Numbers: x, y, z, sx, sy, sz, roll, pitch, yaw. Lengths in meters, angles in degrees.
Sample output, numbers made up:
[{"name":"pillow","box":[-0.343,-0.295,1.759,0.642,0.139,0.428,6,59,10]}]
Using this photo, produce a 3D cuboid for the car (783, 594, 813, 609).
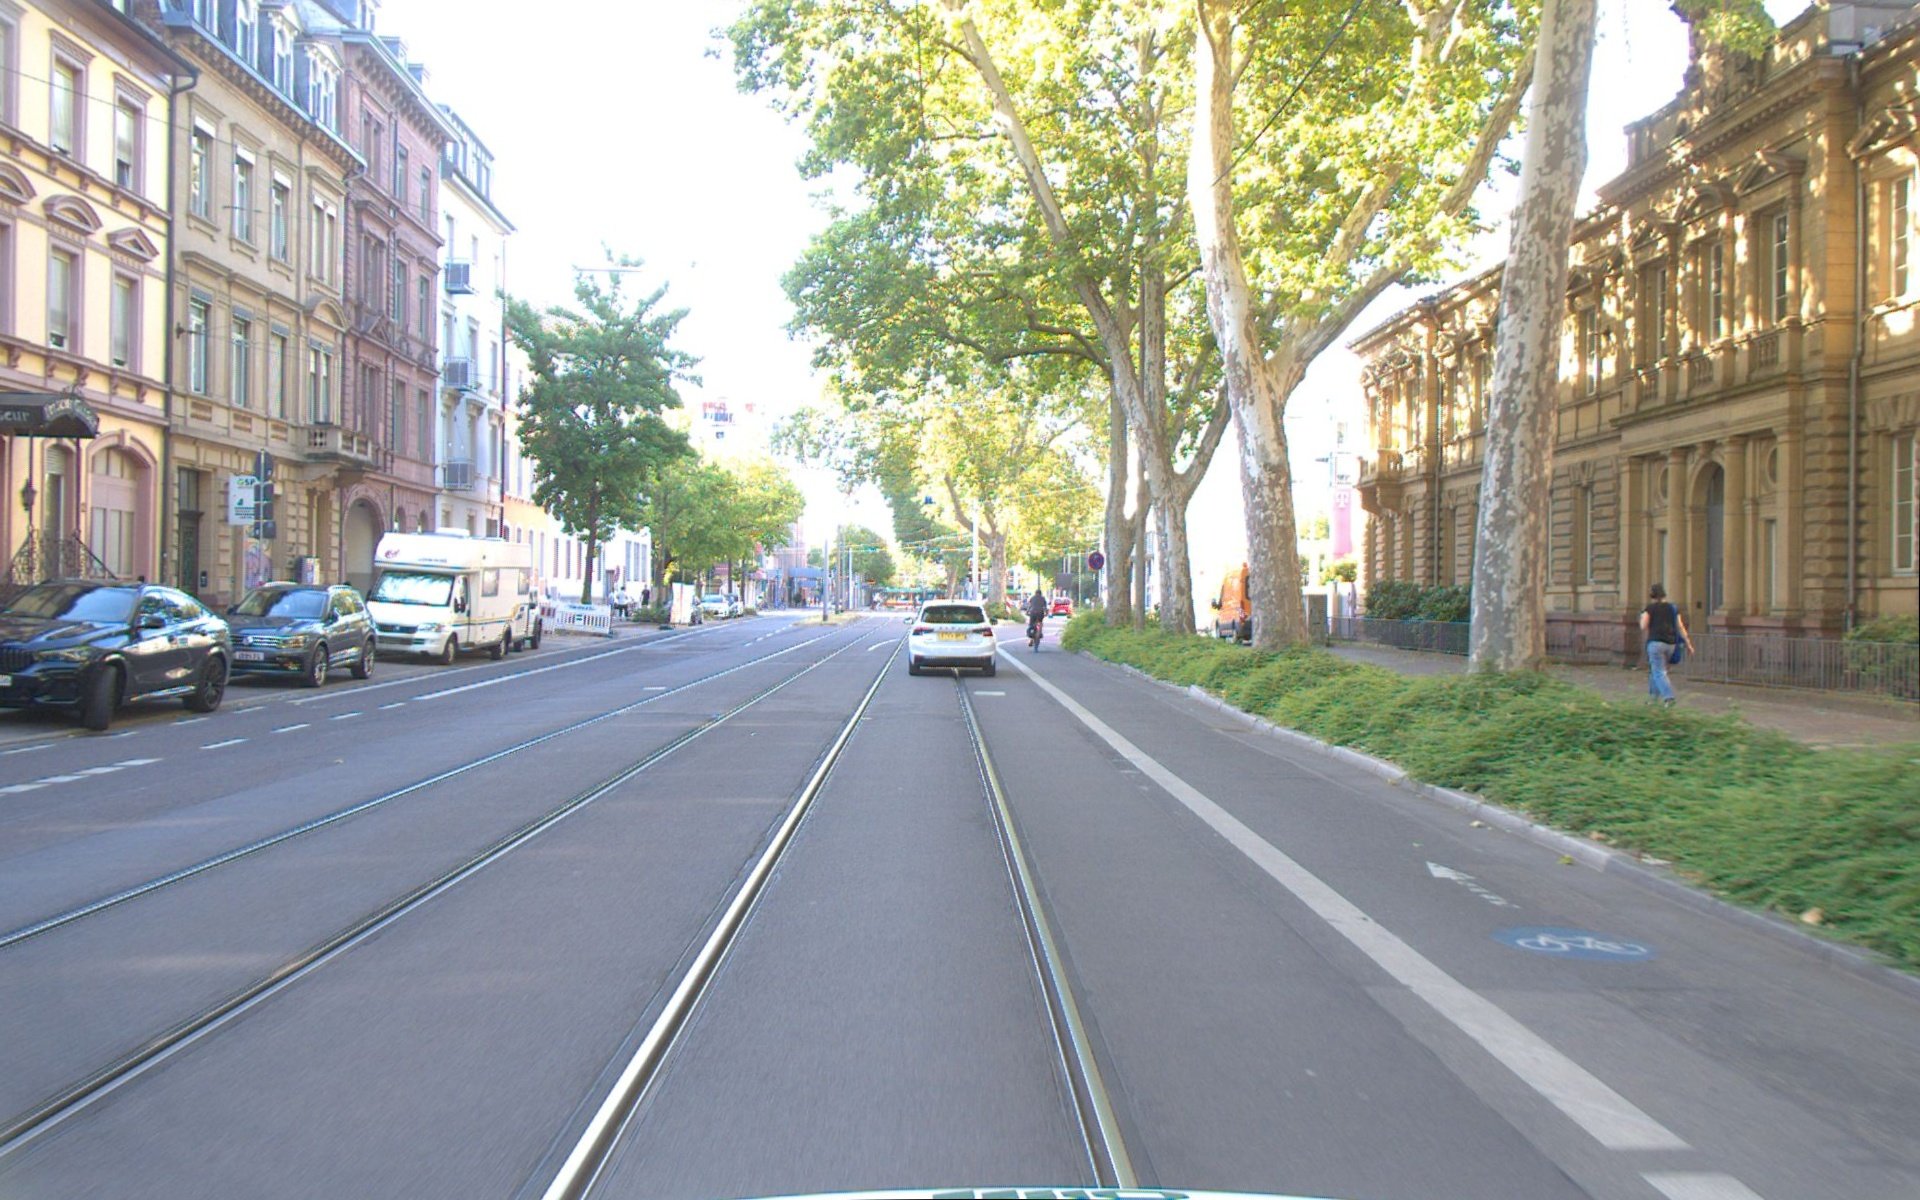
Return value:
[{"name":"car","box":[-21.788,0.221,222.441,3.713,1.850,1.804,2,0,4]}]

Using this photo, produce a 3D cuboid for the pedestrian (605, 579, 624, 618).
[{"name":"pedestrian","box":[-18.536,-0.072,88.730,0.734,2.037,0.646,1,0,36]}]

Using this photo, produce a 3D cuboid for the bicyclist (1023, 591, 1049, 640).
[{"name":"bicyclist","box":[2.195,0.448,47.581,0.665,1.362,0.525,2,0,-2]}]

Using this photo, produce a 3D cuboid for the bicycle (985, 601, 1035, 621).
[{"name":"bicycle","box":[2.798,0.620,92.585,2.711,1.017,0.593,2,0,13]}]

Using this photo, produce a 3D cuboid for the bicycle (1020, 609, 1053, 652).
[{"name":"bicycle","box":[2.190,0.851,47.605,0.666,1.175,2.963,2,0,-2]}]

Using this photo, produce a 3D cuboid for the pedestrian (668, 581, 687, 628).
[{"name":"pedestrian","box":[-12.451,0.209,72.806,0.633,2.037,0.750,1,0,2]}]

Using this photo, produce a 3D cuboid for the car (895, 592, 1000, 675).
[{"name":"car","box":[-0.306,0.636,32.853,1.806,1.506,3.835,2,0,-4]}]

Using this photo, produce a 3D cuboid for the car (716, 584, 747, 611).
[{"name":"car","box":[-15.466,-0.191,112.059,1.758,1.756,3.782,2,0,-3]}]

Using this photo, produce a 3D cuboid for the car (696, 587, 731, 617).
[{"name":"car","box":[-15.177,0.093,101.861,1.758,1.756,3.782,2,0,-3]}]

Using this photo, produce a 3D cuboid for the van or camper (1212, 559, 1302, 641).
[{"name":"van or camper","box":[9.692,0.000,54.408,1.986,2.507,5.108,2,0,0]}]

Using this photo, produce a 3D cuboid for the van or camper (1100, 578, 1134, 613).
[{"name":"van or camper","box":[11.371,-0.314,119.859,1.953,2.384,3.999,2,0,-1]}]

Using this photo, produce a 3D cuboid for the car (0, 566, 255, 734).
[{"name":"car","box":[-10.912,0.543,21.068,1.925,1.812,4.934,3,0,-4]}]

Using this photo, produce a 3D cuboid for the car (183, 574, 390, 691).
[{"name":"car","box":[-11.543,0.515,28.686,1.925,1.812,4.468,2,0,-3]}]

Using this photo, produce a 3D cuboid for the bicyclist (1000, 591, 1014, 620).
[{"name":"bicyclist","box":[2.639,0.297,92.609,0.721,1.617,0.587,0,0,10]}]

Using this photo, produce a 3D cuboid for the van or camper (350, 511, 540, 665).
[{"name":"van or camper","box":[-11.835,-0.263,38.656,2.171,3.195,7.112,1,0,0]}]

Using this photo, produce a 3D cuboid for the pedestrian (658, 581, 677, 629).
[{"name":"pedestrian","box":[-12.554,0.231,70.938,0.588,2.037,0.750,1,0,2]}]

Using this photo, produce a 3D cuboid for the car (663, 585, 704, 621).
[{"name":"car","box":[-14.092,0.151,84.487,1.608,1.756,3.782,2,0,-3]}]

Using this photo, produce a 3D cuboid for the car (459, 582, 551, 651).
[{"name":"car","box":[-12.295,0.428,44.905,1.608,1.756,3.782,2,0,-3]}]

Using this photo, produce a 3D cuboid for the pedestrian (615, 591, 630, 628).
[{"name":"pedestrian","box":[-16.390,0.459,80.229,0.589,1.803,0.700,2,0,-7]}]

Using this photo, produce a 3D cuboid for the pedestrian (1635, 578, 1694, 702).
[{"name":"pedestrian","box":[9.764,0.547,22.942,0.634,1.661,0.872,2,0,17]}]
